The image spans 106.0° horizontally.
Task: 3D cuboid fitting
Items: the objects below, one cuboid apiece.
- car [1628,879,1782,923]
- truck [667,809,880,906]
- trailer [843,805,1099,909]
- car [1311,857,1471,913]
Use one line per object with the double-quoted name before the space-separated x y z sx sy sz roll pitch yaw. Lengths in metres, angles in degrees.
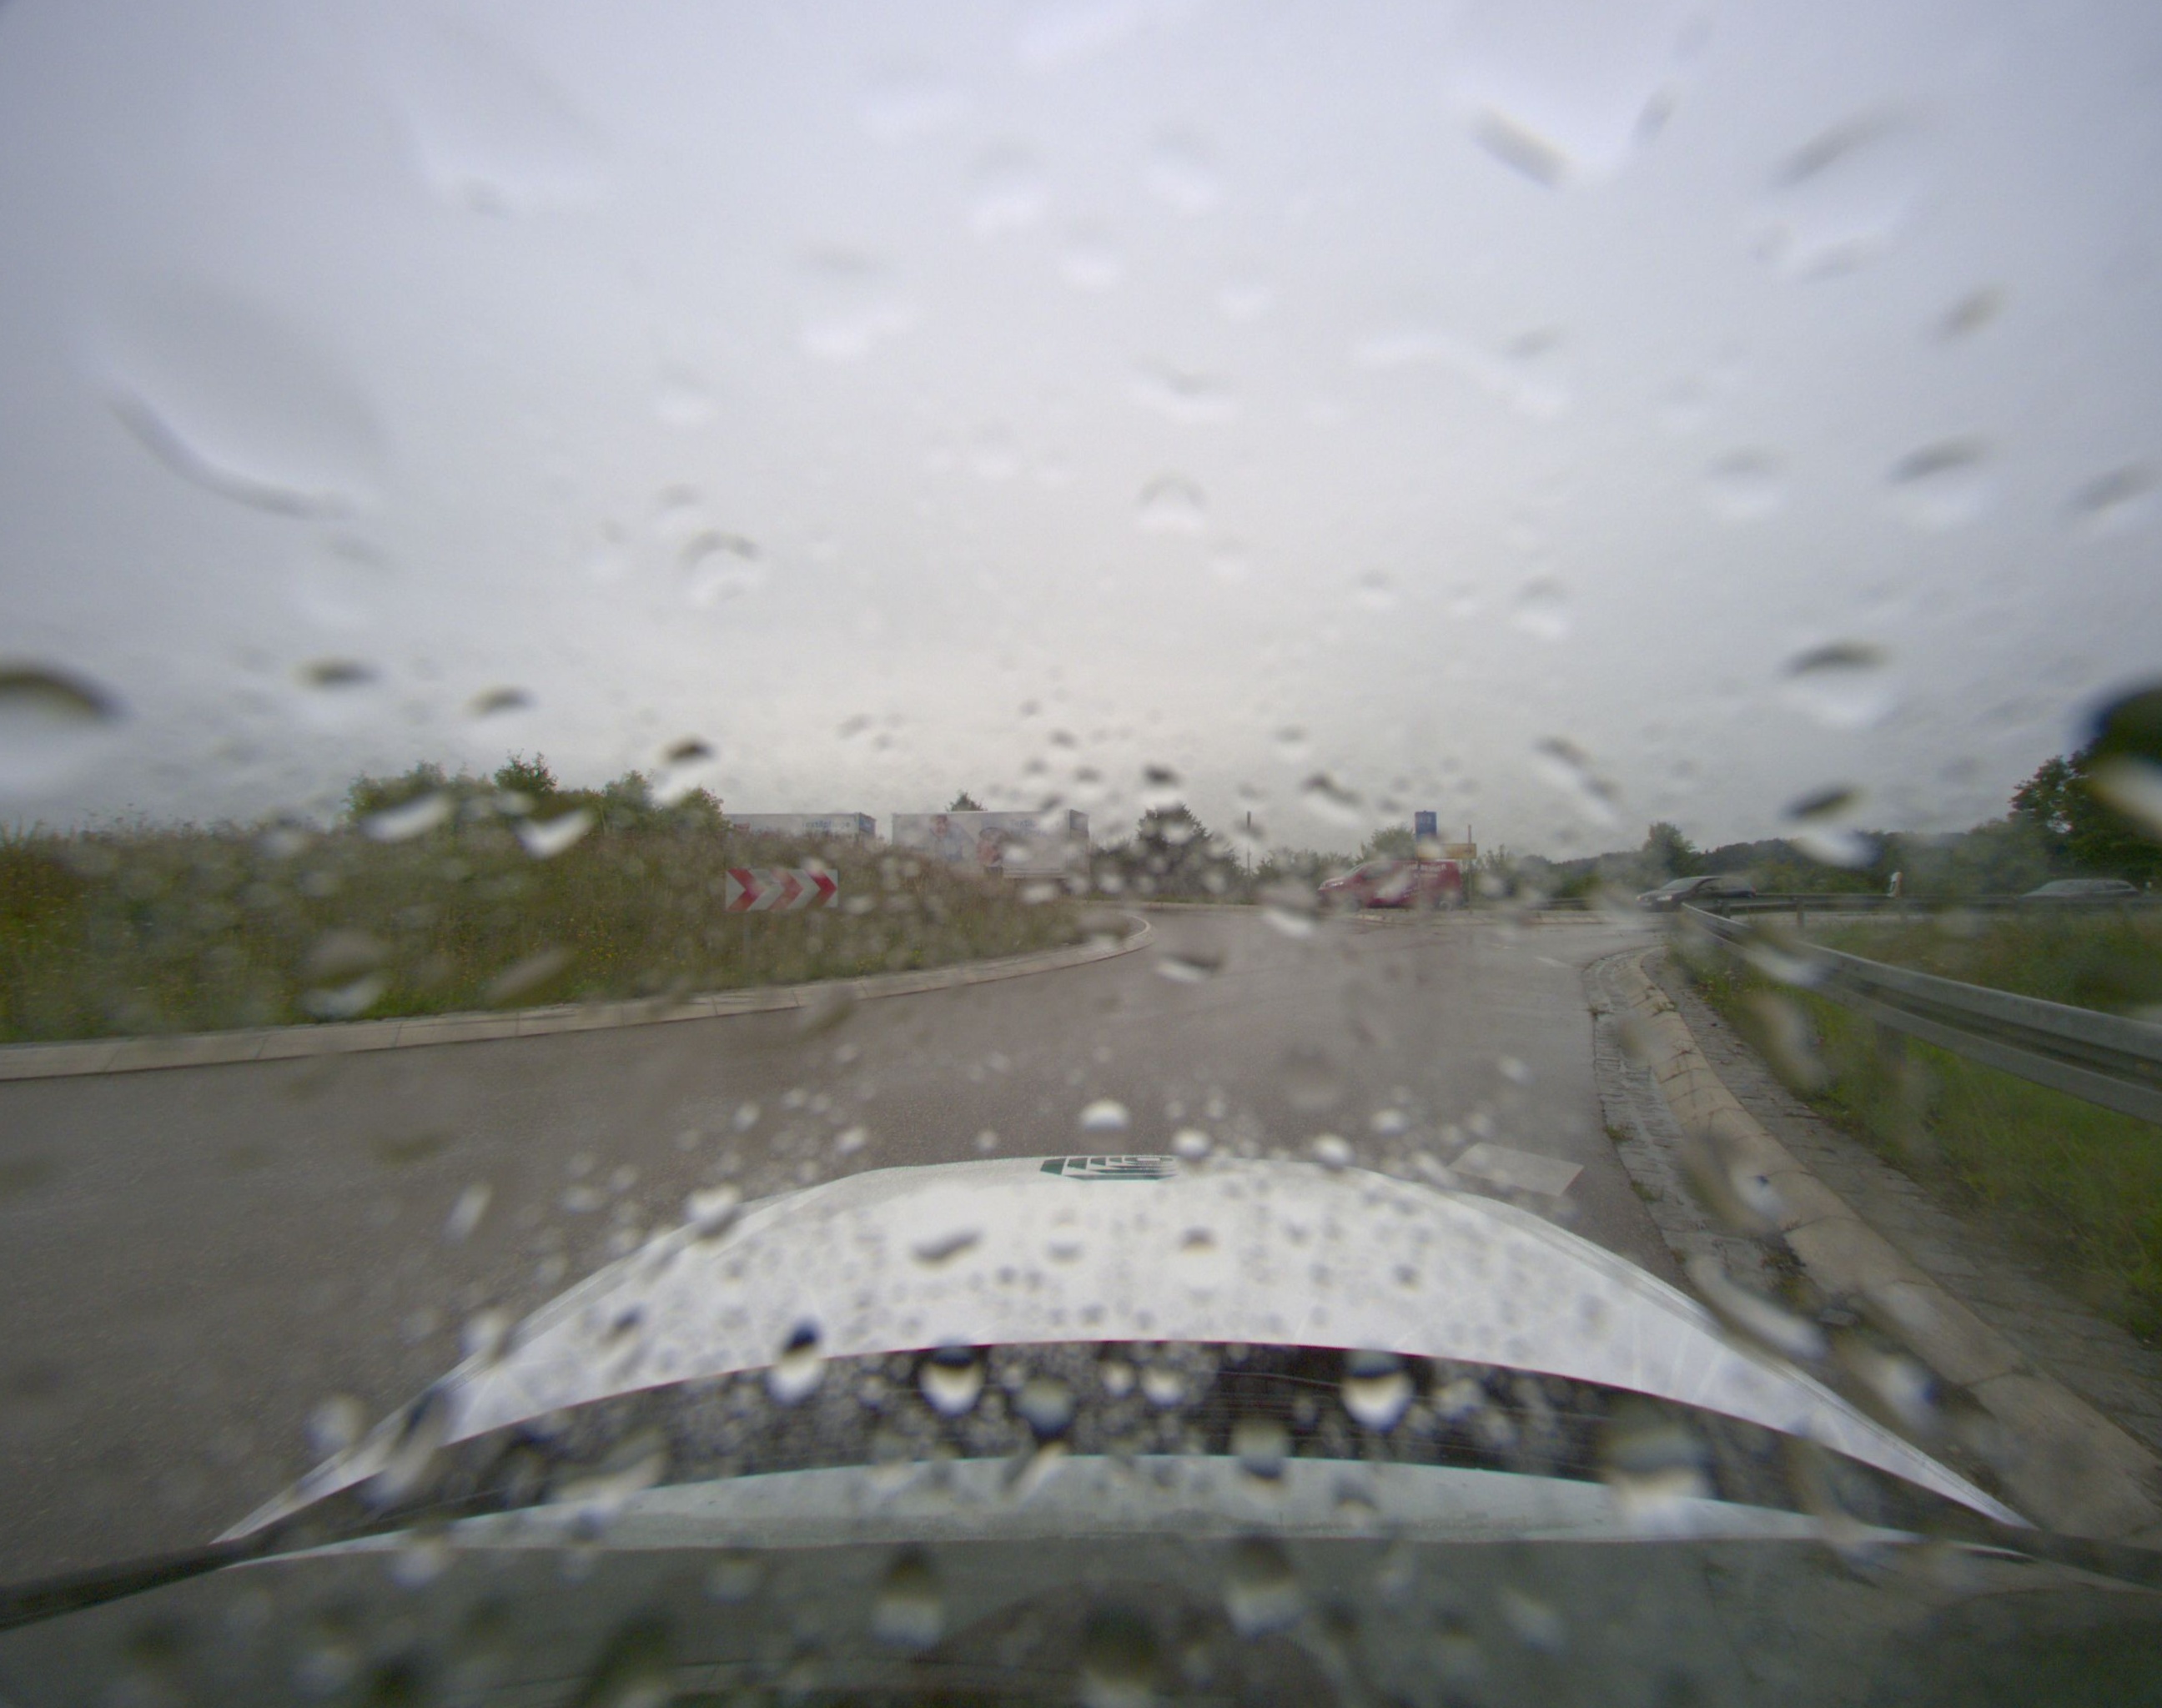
"car" 22.744 1.699 29.755 4.485 1.421 1.869 2 -1 -8
"truck" -12.465 0.176 33.510 7.636 3.819 2.809 0 -2 1
"trailer" -4.332 0.187 32.237 9.611 3.819 2.852 -1 -2 15
"car" 10.929 1.092 28.922 4.947 1.870 1.999 1 -2 -1
